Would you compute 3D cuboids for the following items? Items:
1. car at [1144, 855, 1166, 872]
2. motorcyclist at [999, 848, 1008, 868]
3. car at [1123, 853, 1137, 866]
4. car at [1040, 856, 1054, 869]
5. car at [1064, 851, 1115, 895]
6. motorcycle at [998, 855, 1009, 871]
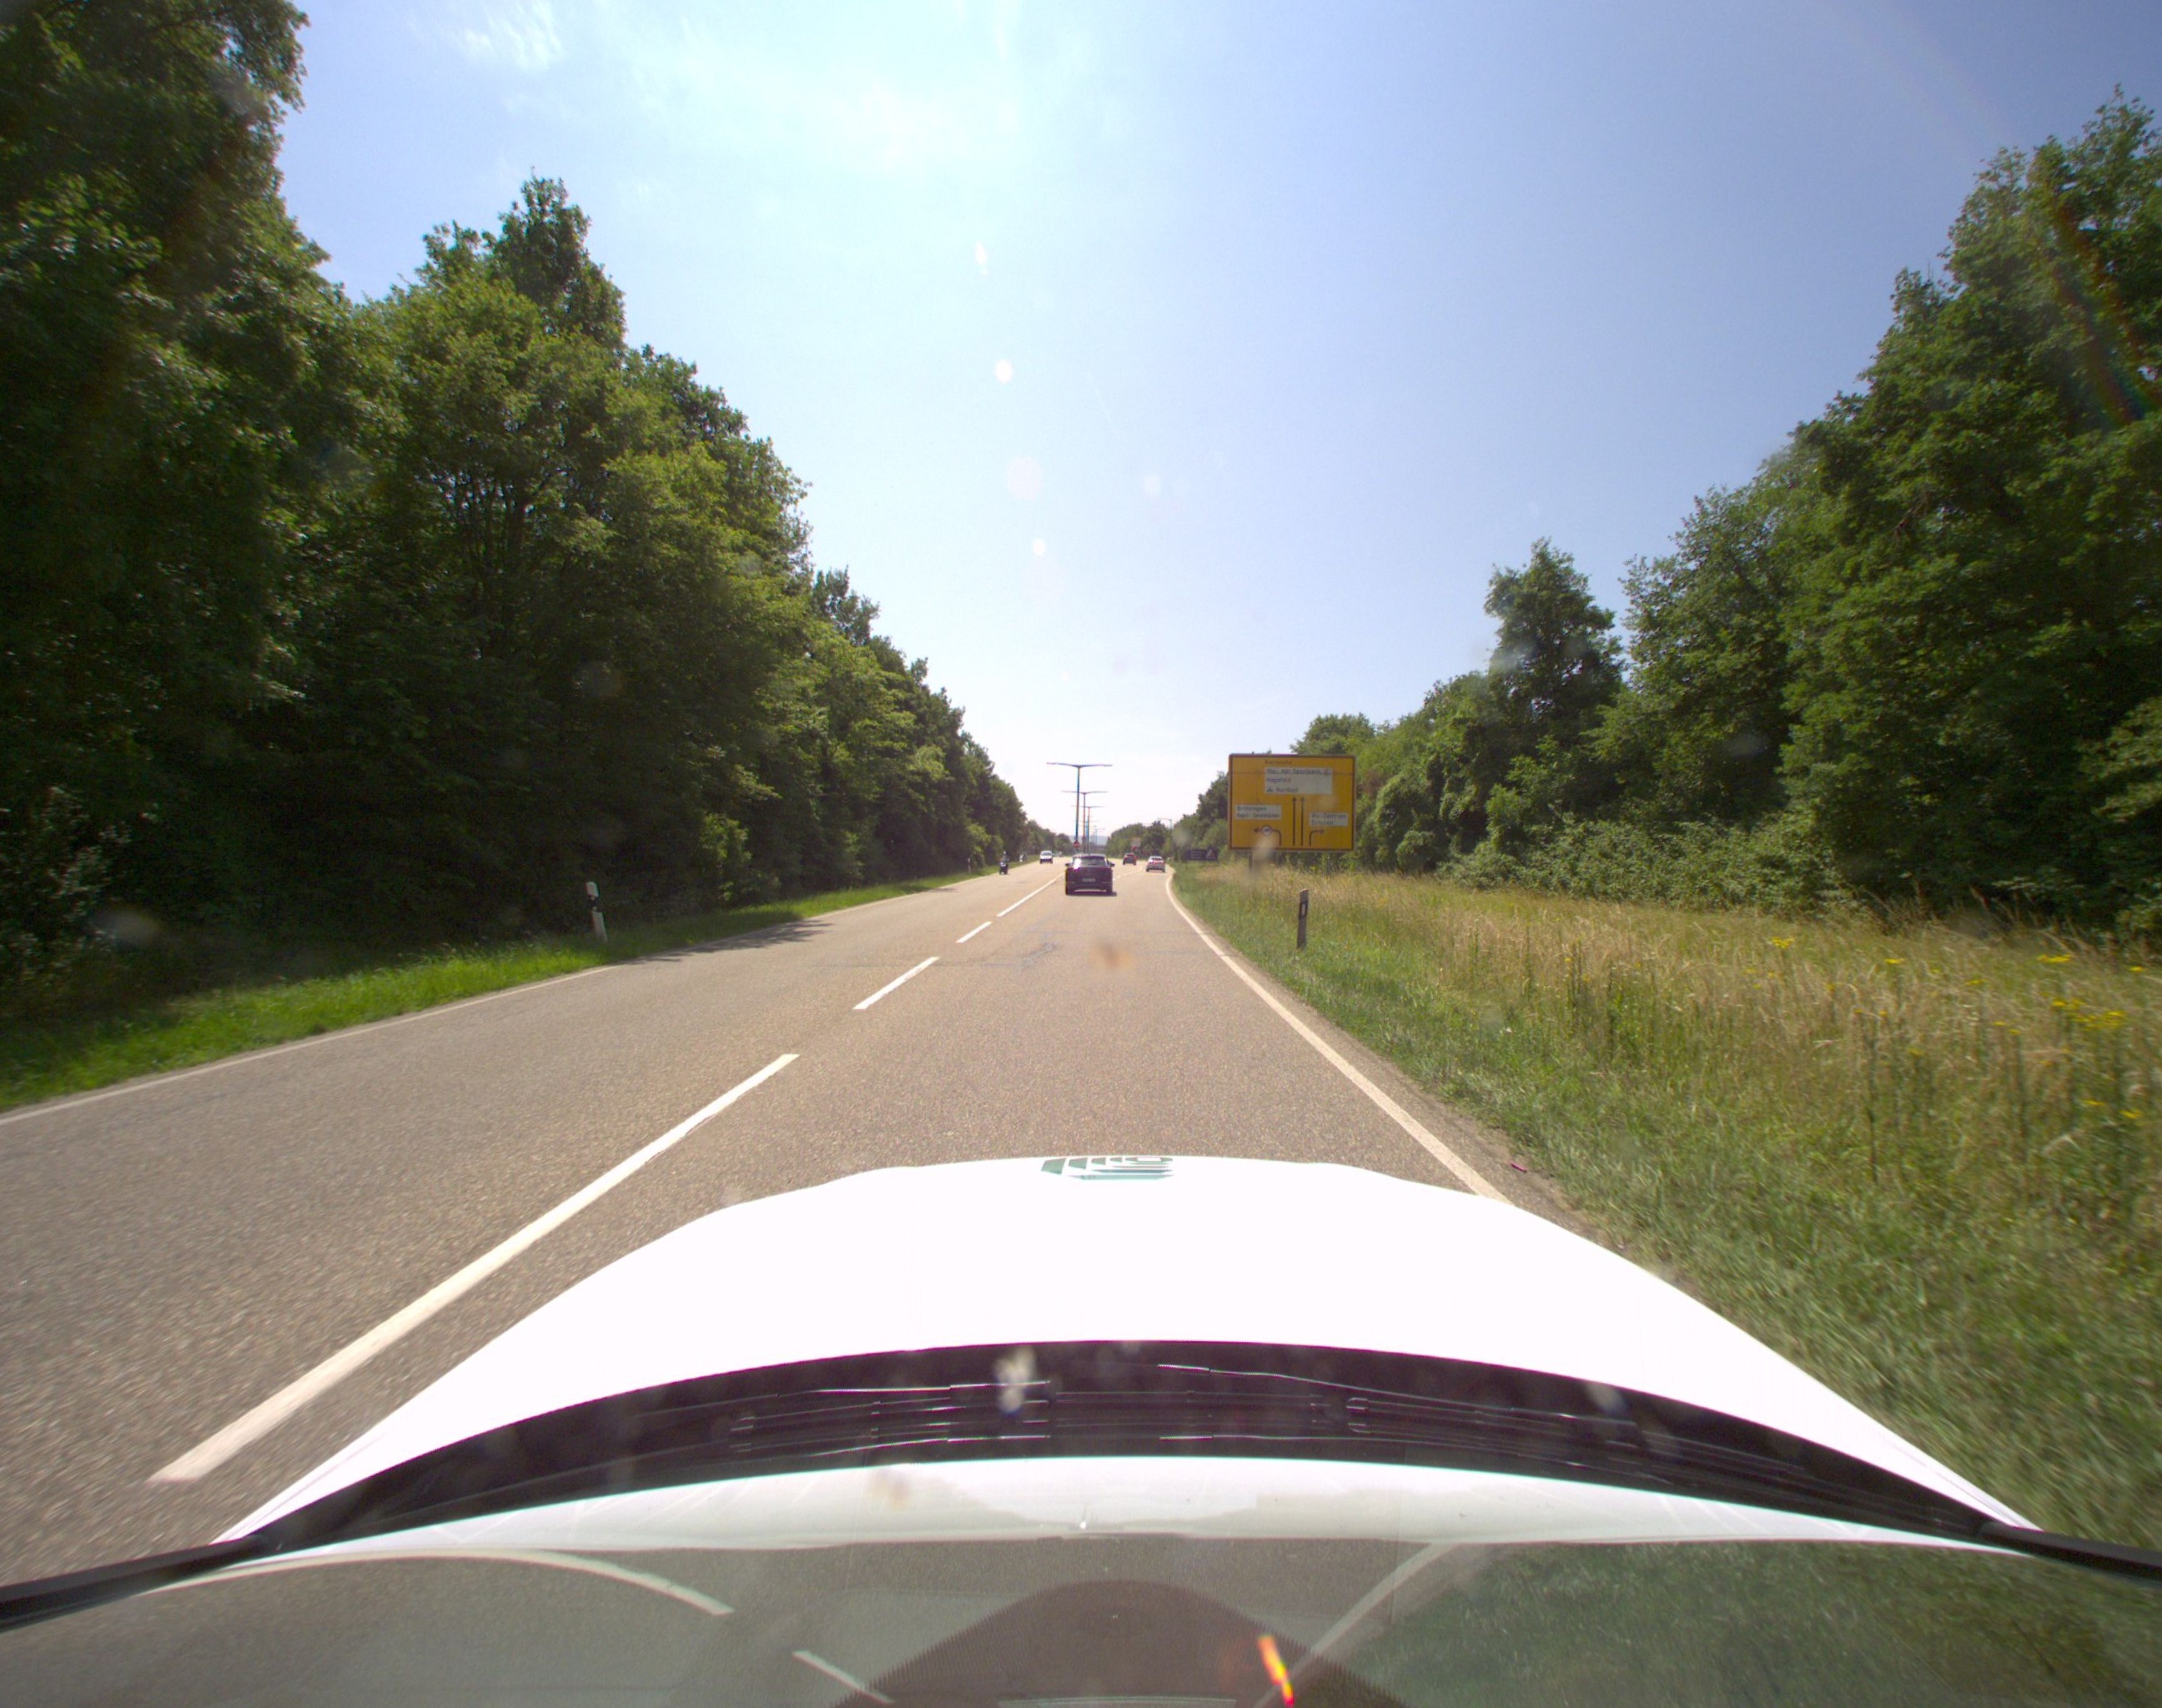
[{"bbox_3d":[6.970,0.900,77.014,1.790,1.583,4.002,-1,0,2],"label":"car"},{"bbox_3d":[-5.878,0.322,61.946,0.668,1.475,0.813,0,0,-3],"label":"motorcyclist"},{"bbox_3d":[7.210,0.820,120.505,1.749,1.929,4.000,2,0,1],"label":"car"},{"bbox_3d":[-4.682,1.167,113.052,1.726,1.688,4.094,-1,0,0],"label":"car"},{"bbox_3d":[0.270,0.704,31.586,1.751,1.556,3.997,1,0,-2],"label":"car"},{"bbox_3d":[-5.887,0.701,62.113,0.668,1.174,2.230,0,0,-2],"label":"motorcycle"}]
